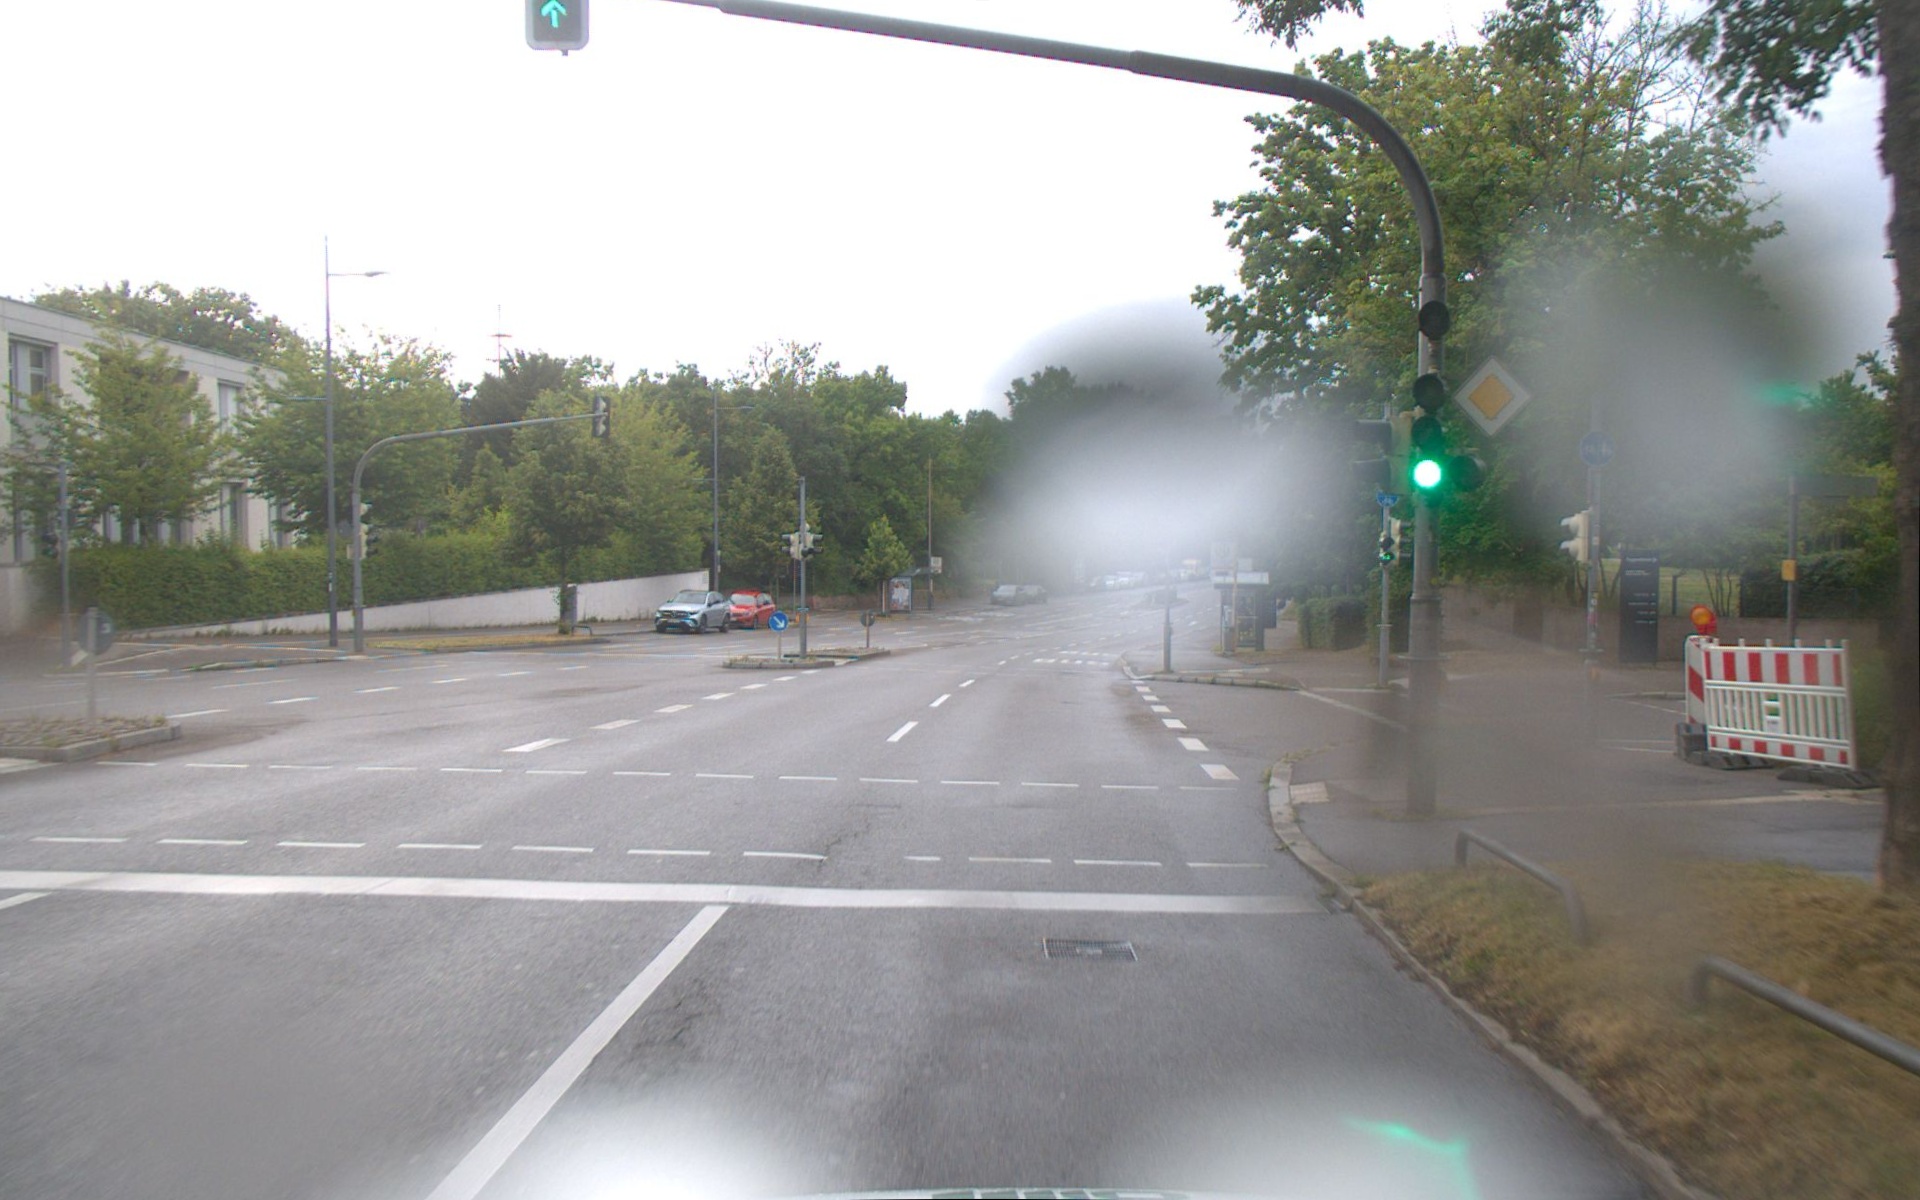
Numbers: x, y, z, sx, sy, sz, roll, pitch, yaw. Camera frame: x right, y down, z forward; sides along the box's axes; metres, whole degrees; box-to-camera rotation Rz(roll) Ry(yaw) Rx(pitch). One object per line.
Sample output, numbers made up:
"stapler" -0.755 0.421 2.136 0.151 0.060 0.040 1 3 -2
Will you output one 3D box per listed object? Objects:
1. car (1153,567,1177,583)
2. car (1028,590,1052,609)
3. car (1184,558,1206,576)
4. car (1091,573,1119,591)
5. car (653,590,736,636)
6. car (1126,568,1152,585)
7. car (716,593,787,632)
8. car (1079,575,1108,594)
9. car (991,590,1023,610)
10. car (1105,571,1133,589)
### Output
"car" 23.517 -2.884 189.739 1.915 1.511 4.003 3 4 18
"car" 6.381 -0.050 131.957 1.386 1.449 3.124 1 0 13
"car" 29.051 -4.042 204.627 1.915 1.970 4.003 3 4 18
"car" 14.483 -1.799 165.043 1.820 1.511 4.003 3 4 18
"car" -10.491 0.481 65.552 1.814 1.668 4.097 3 1 12
"car" 19.283 -2.546 177.824 1.915 1.511 4.003 3 4 18
"car" -9.126 0.527 72.820 1.835 1.602 4.226 3 1 10
"car" 12.953 -1.513 160.316 1.915 1.511 4.003 3 4 18
"car" 3.599 -0.008 126.078 1.676 1.486 3.753 1 0 14
"car" 16.315 -2.074 169.773 1.915 1.511 4.003 3 4 18
